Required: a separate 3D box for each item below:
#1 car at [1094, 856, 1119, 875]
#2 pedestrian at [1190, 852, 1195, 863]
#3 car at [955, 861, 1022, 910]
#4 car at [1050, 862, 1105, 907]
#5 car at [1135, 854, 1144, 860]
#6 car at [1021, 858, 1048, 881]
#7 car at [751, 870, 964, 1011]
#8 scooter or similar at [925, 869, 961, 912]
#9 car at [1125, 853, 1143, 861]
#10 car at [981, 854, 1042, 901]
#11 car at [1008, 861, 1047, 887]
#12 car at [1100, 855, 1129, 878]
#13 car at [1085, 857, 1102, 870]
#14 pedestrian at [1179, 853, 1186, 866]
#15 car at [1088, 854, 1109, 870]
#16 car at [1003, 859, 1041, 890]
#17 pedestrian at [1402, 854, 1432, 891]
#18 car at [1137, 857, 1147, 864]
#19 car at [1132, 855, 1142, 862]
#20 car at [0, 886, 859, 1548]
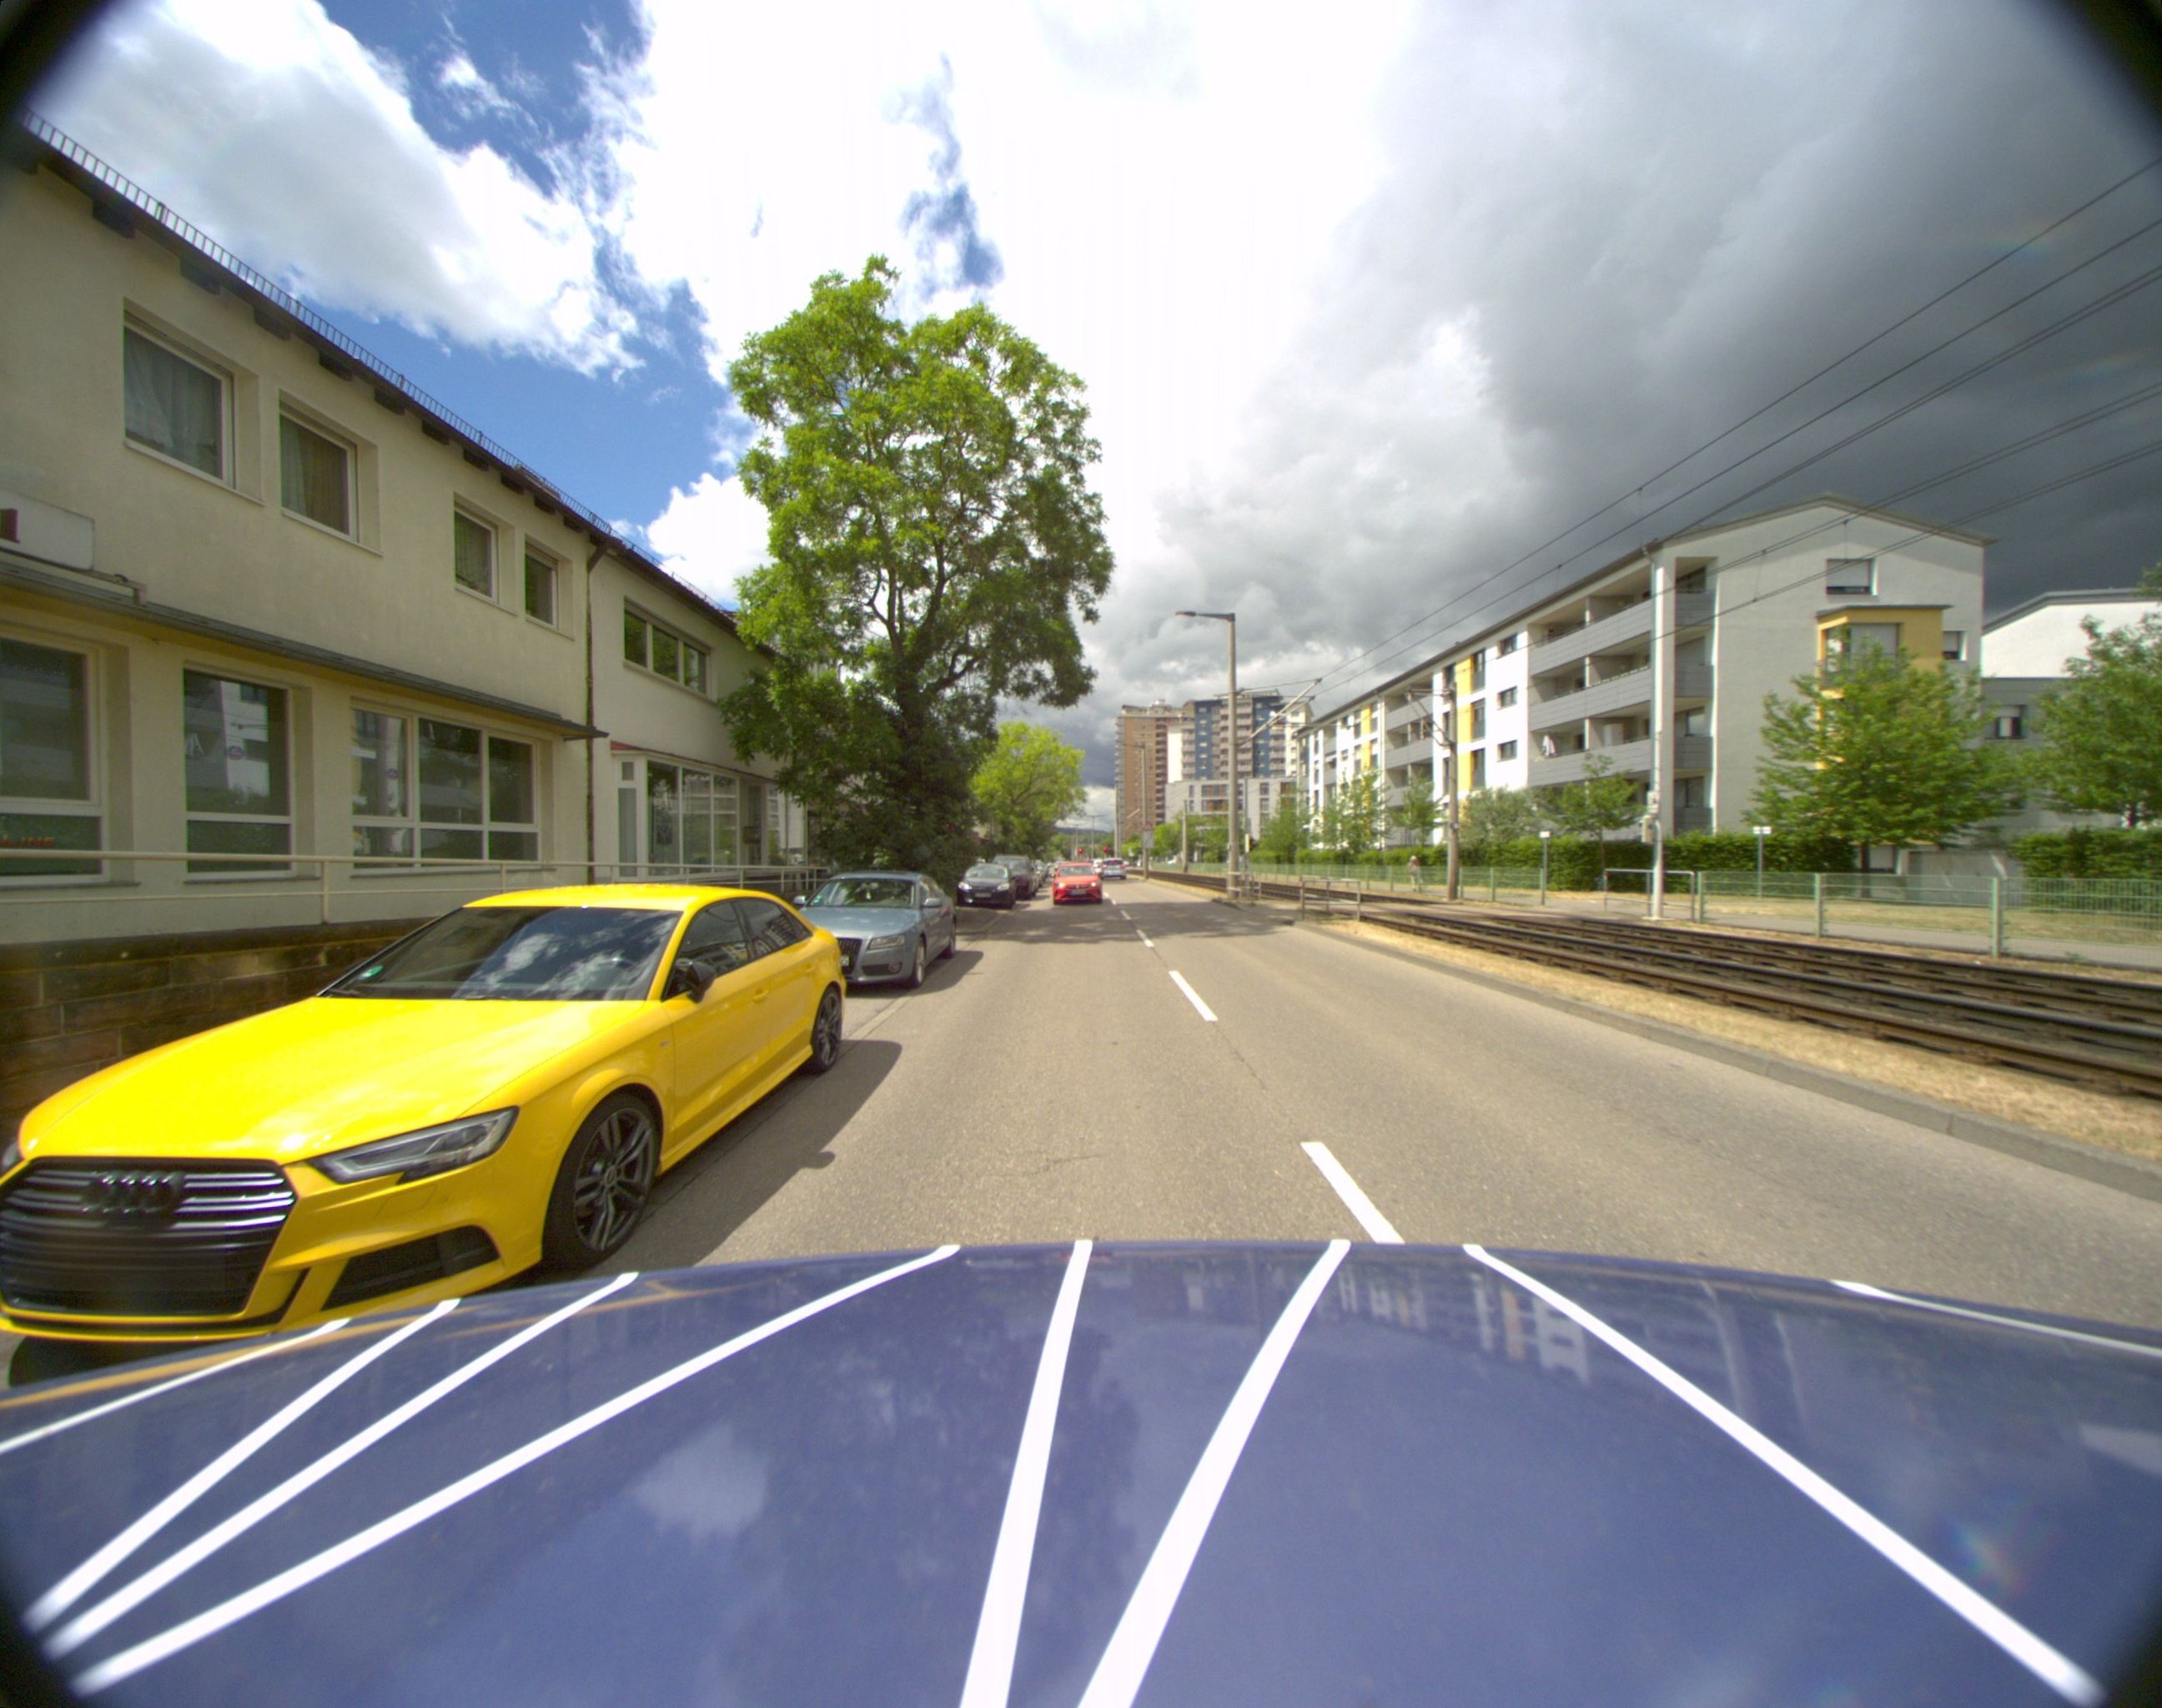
[{"bbox_3d":[2.212,0.991,66.775,1.822,1.494,4.836,-2,0,-2],"label":"car"},{"bbox_3d":[17.628,0.513,119.857,0.749,1.644,0.538,-1,1,-2],"label":"pedestrian"},{"bbox_3d":[-3.037,0.997,25.656,1.839,1.497,4.241,0,0,-2],"label":"car"},{"bbox_3d":[-0.131,1.045,27.651,1.792,1.387,4.241,-2,0,-1],"label":"car"},{"bbox_3d":[14.563,0.758,189.917,1.781,1.650,3.803,-1,0,-2],"label":"car"},{"bbox_3d":[-3.385,1.106,56.548,1.842,1.634,4.429,-1,0,-2],"label":"car"},{"bbox_3d":[-2.789,0.998,10.589,1.760,1.434,4.493,0,0,-2],"label":"car"},{"bbox_3d":[-4.108,1.059,22.574,0.537,1.235,1.233,0,-1,-36],"label":"scooter or similar"},{"bbox_3d":[13.630,0.845,194.231,4.506,1.914,1.877,-1,0,-42],"label":"car"},{"bbox_3d":[-2.787,0.895,31.655,2.020,1.778,5.076,0,0,1],"label":"car"},{"bbox_3d":[-3.026,1.124,43.869,1.775,1.341,4.001,2,0,3],"label":"car"},{"bbox_3d":[2.486,0.879,57.443,1.822,1.604,4.601,-2,0,-1],"label":"car"},{"bbox_3d":[1.434,1.088,90.304,1.816,1.437,4.464,-1,0,-1],"label":"car"},{"bbox_3d":[12.848,0.679,96.333,0.756,1.603,0.937,-1,0,-2],"label":"pedestrian"},{"bbox_3d":[1.859,0.889,82.595,1.862,1.680,4.432,-1,0,-3],"label":"car"},{"bbox_3d":[-2.922,0.993,38.575,1.776,1.434,3.898,2,0,-3],"label":"car"},{"bbox_3d":[13.959,0.753,31.599,0.798,1.474,0.995,-1,0,-2],"label":"pedestrian"},{"bbox_3d":[13.122,1.441,163.062,1.781,1.530,3.803,-1,0,-2],"label":"car"},{"bbox_3d":[12.533,1.039,169.804,1.781,1.530,3.803,-1,0,-2],"label":"car"},{"bbox_3d":[-2.708,0.991,4.044,1.759,1.434,4.340,1,0,0],"label":"car"}]
